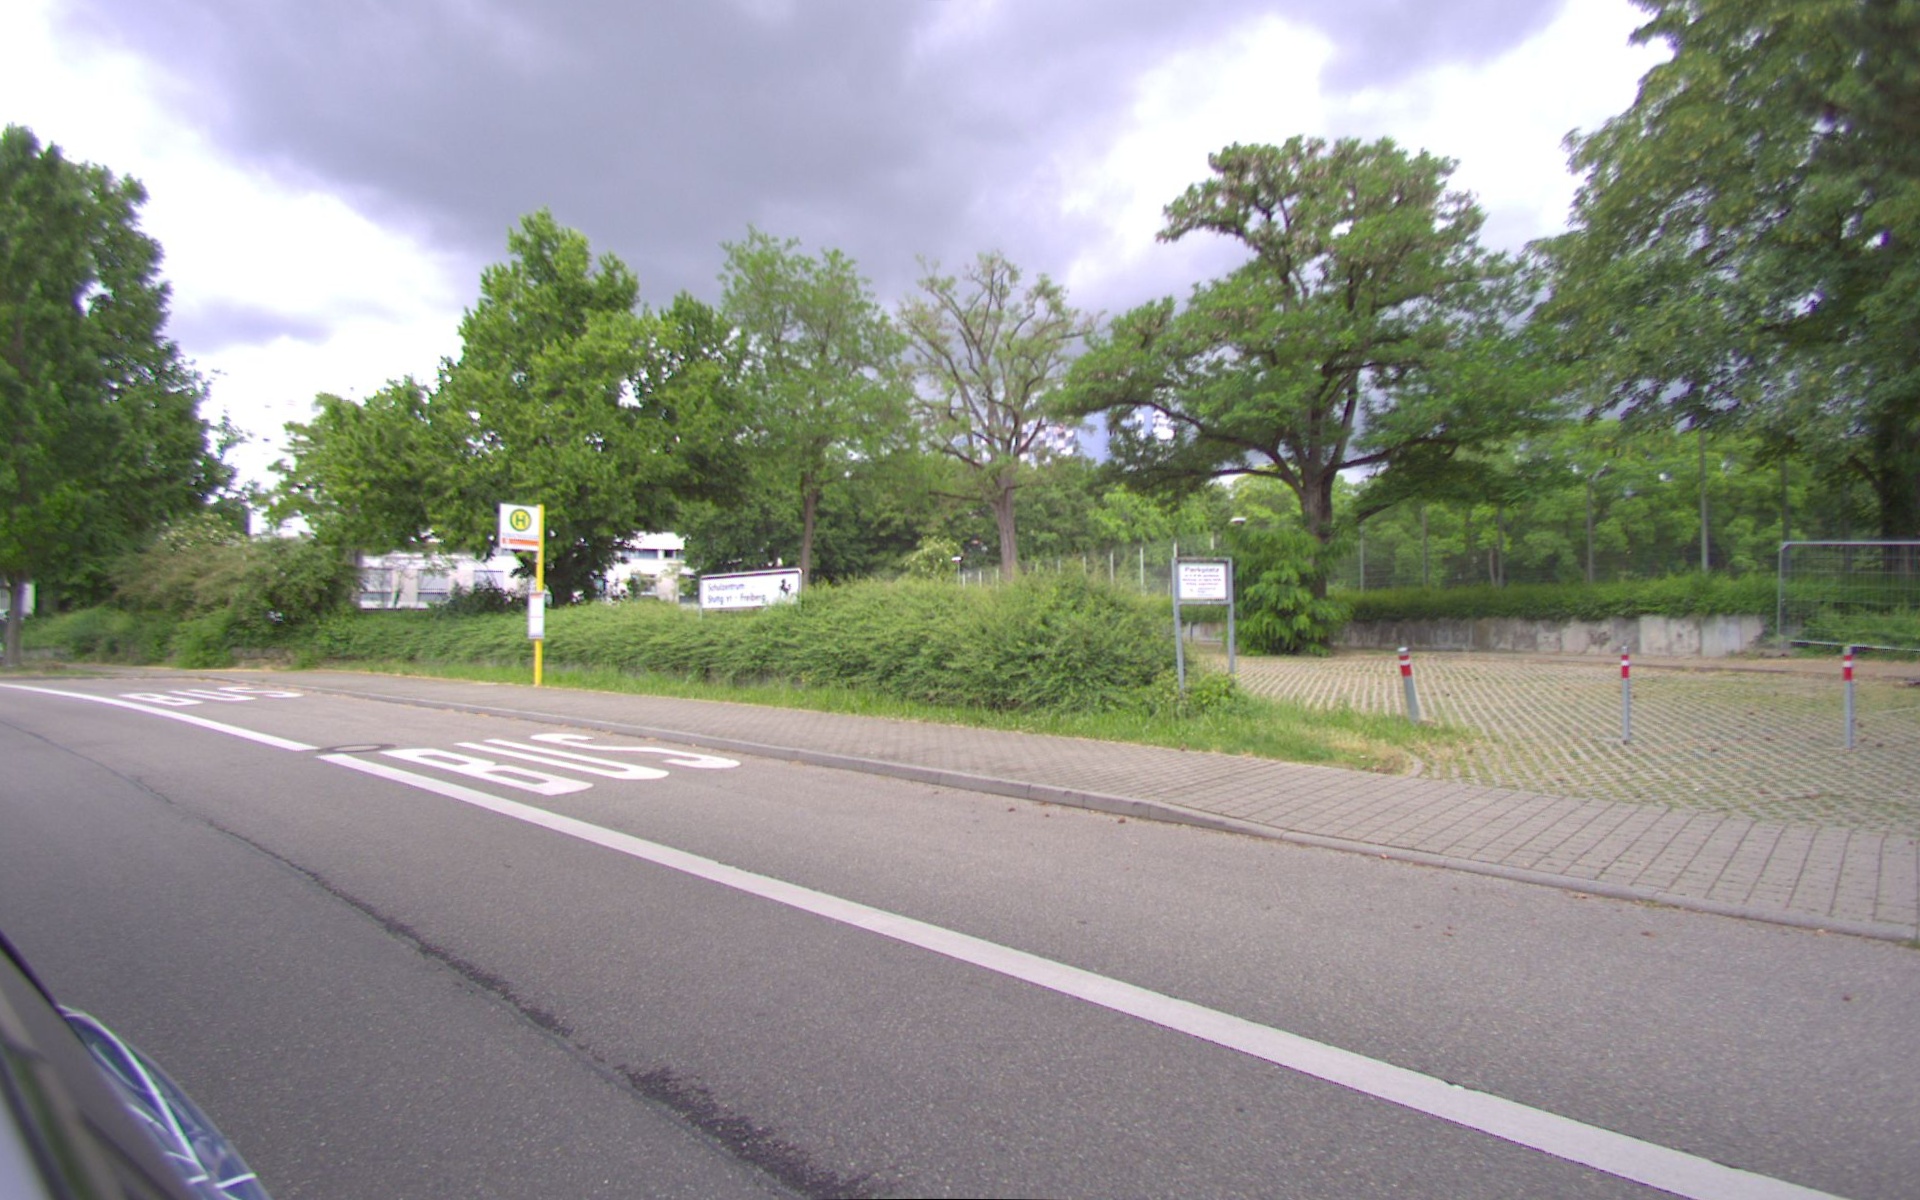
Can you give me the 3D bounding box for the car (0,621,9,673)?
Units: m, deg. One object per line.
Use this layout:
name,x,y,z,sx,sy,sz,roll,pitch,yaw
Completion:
car,-30.135,1.390,29.797,4.617,1.503,1.835,-1,-1,30

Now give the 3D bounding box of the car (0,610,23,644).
car,-48.553,1.338,49.319,3.747,1.650,2.006,-1,1,-17
